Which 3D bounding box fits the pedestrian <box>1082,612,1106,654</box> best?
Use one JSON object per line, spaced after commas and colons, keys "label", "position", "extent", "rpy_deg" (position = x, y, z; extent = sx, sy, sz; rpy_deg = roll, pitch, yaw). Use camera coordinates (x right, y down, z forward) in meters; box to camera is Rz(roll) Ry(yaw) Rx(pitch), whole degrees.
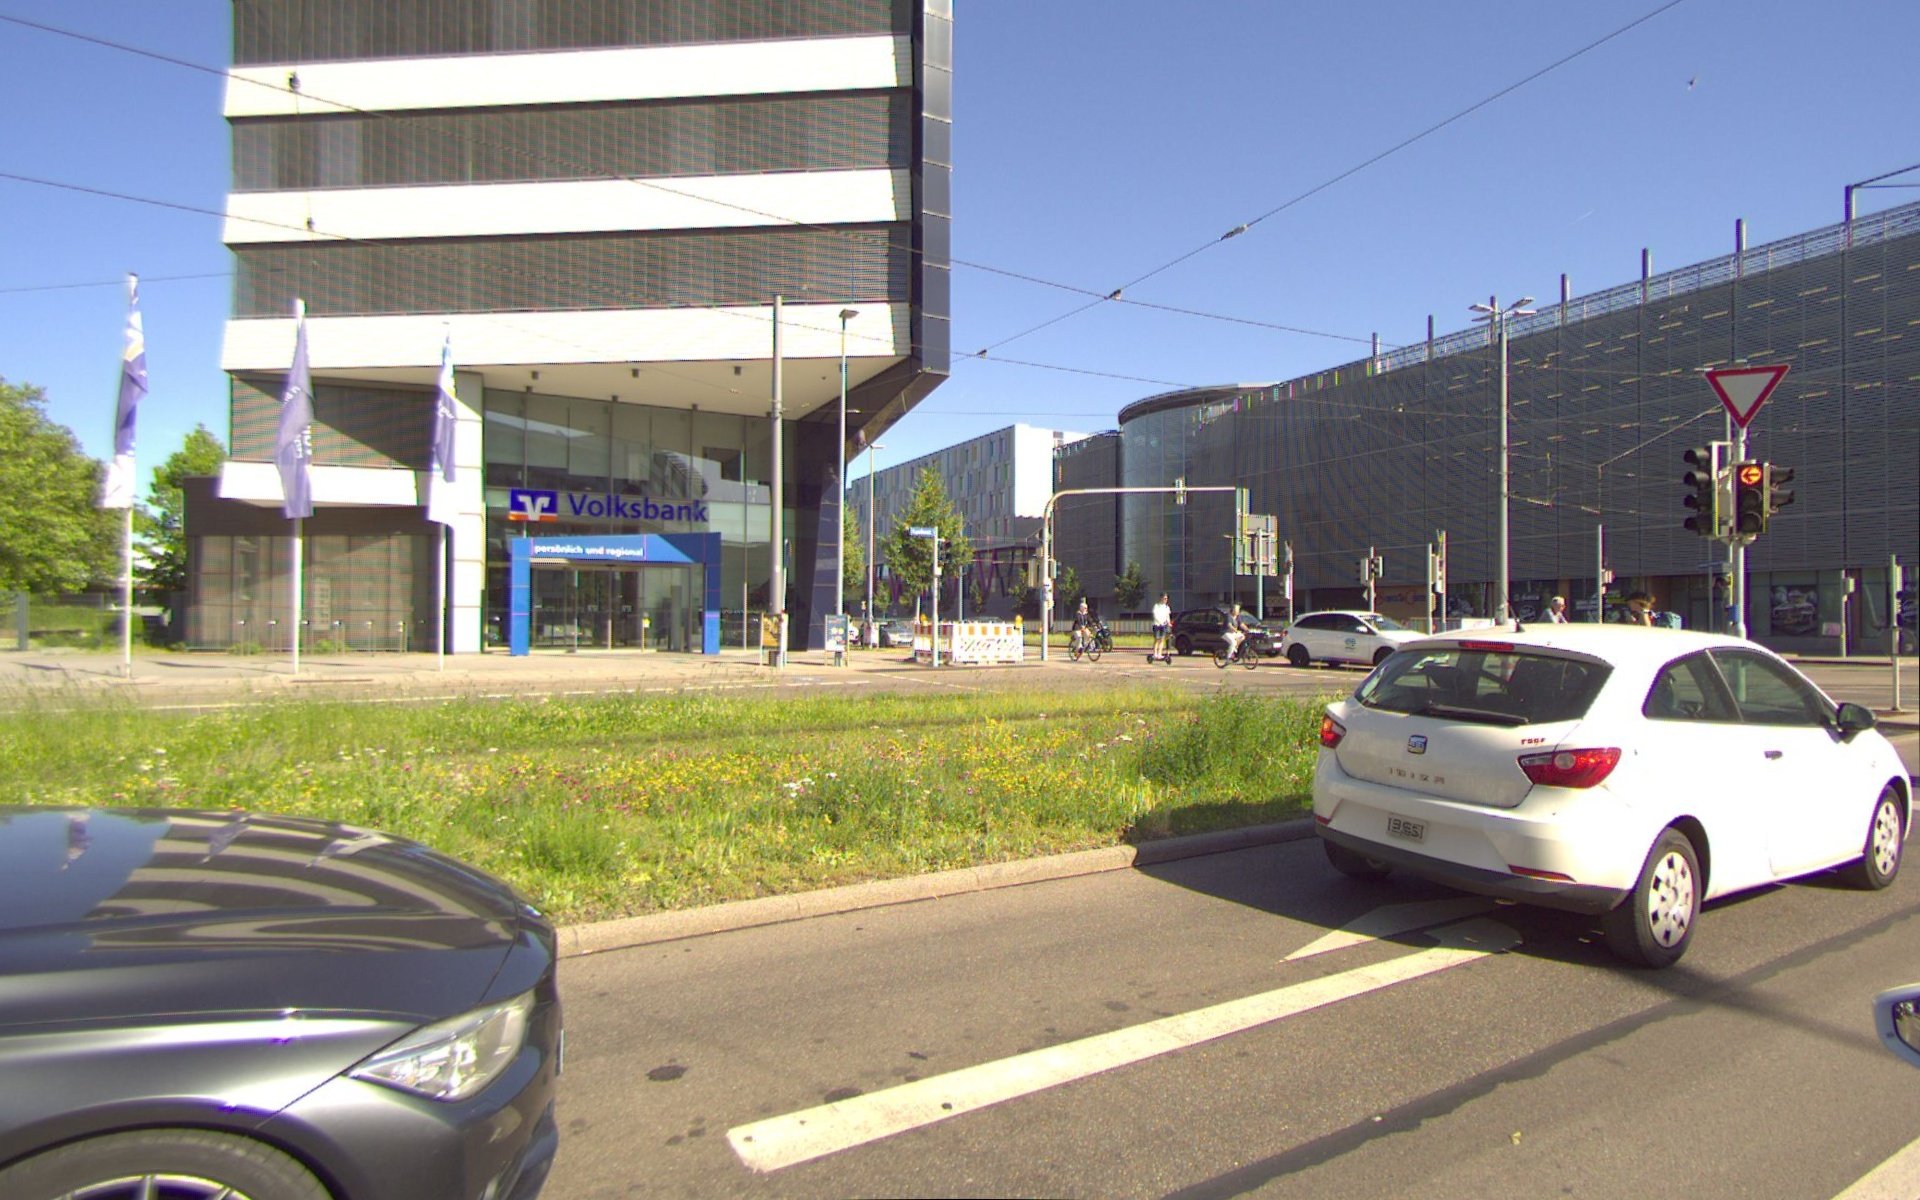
{"label": "pedestrian", "position": [5.525, 1.359, 41.307], "extent": [0.657, 1.699, 0.740], "rpy_deg": [1, 0, -30]}

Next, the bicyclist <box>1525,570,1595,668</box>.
{"label": "bicyclist", "position": [11.952, 0.378, 20.006], "extent": [0.844, 1.884, 0.898], "rpy_deg": [1, -1, -30]}

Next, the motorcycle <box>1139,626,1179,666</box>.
{"label": "motorcycle", "position": [5.747, 1.315, 29.053], "extent": [0.478, 1.136, 1.181], "rpy_deg": [1, -1, -30]}

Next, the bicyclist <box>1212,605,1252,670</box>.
{"label": "bicyclist", "position": [7.193, 0.984, 26.595], "extent": [0.682, 1.670, 0.778], "rpy_deg": [1, -1, -32]}

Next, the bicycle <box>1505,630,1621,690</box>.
{"label": "bicycle", "position": [11.972, 1.166, 19.996], "extent": [0.843, 1.131, 1.820], "rpy_deg": [1, -1, -29]}

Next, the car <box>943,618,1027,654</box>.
{"label": "car", "position": [1.021, 1.512, 43.184], "extent": [1.889, 1.483, 4.060], "rpy_deg": [1, -1, -29]}

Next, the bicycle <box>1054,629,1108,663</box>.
{"label": "bicycle", "position": [3.888, 1.454, 32.383], "extent": [0.687, 1.050, 1.915], "rpy_deg": [1, -1, -32]}

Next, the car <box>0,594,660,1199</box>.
{"label": "car", "position": [-2.931, 0.718, 1.609], "extent": [4.415, 1.442, 1.725], "rpy_deg": [1, 1, -31]}

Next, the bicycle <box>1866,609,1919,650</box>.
{"label": "bicycle", "position": [49.361, 1.510, 51.611], "extent": [1.314, 2.040, 3.969], "rpy_deg": [0, 0, -29]}

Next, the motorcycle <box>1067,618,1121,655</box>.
{"label": "motorcycle", "position": [5.506, 1.486, 41.365], "extent": [0.904, 1.438, 2.430], "rpy_deg": [1, 0, -31]}

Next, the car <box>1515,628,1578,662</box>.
{"label": "car", "position": [34.294, 2.610, 58.823], "extent": [1.722, 1.818, 4.002], "rpy_deg": [1, 0, 8]}

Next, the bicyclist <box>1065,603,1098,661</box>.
{"label": "bicyclist", "position": [3.905, 1.028, 32.328], "extent": [0.755, 1.812, 0.758], "rpy_deg": [1, -1, -34]}

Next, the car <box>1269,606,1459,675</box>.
{"label": "car", "position": [10.620, 1.023, 26.697], "extent": [1.819, 1.656, 4.463], "rpy_deg": [0, -1, -33]}

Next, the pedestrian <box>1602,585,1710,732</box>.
{"label": "pedestrian", "position": [8.585, 0.706, 12.399], "extent": [0.704, 1.730, 0.881], "rpy_deg": [1, -1, -30]}

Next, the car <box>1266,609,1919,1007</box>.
{"label": "car", "position": [3.617, 0.823, 5.450], "extent": [3.738, 1.442, 1.624], "rpy_deg": [1, 1, -31]}

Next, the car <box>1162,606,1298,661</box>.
{"label": "car", "position": [9.213, 1.094, 34.679], "extent": [1.818, 1.741, 4.612], "rpy_deg": [0, 0, -31]}

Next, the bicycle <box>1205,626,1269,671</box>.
{"label": "bicycle", "position": [7.278, 1.258, 26.474], "extent": [0.726, 1.121, 1.567], "rpy_deg": [1, -1, -32]}

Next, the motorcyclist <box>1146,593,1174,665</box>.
{"label": "motorcyclist", "position": [5.781, 0.837, 29.020], "extent": [0.492, 2.040, 0.625], "rpy_deg": [1, -1, -30]}
